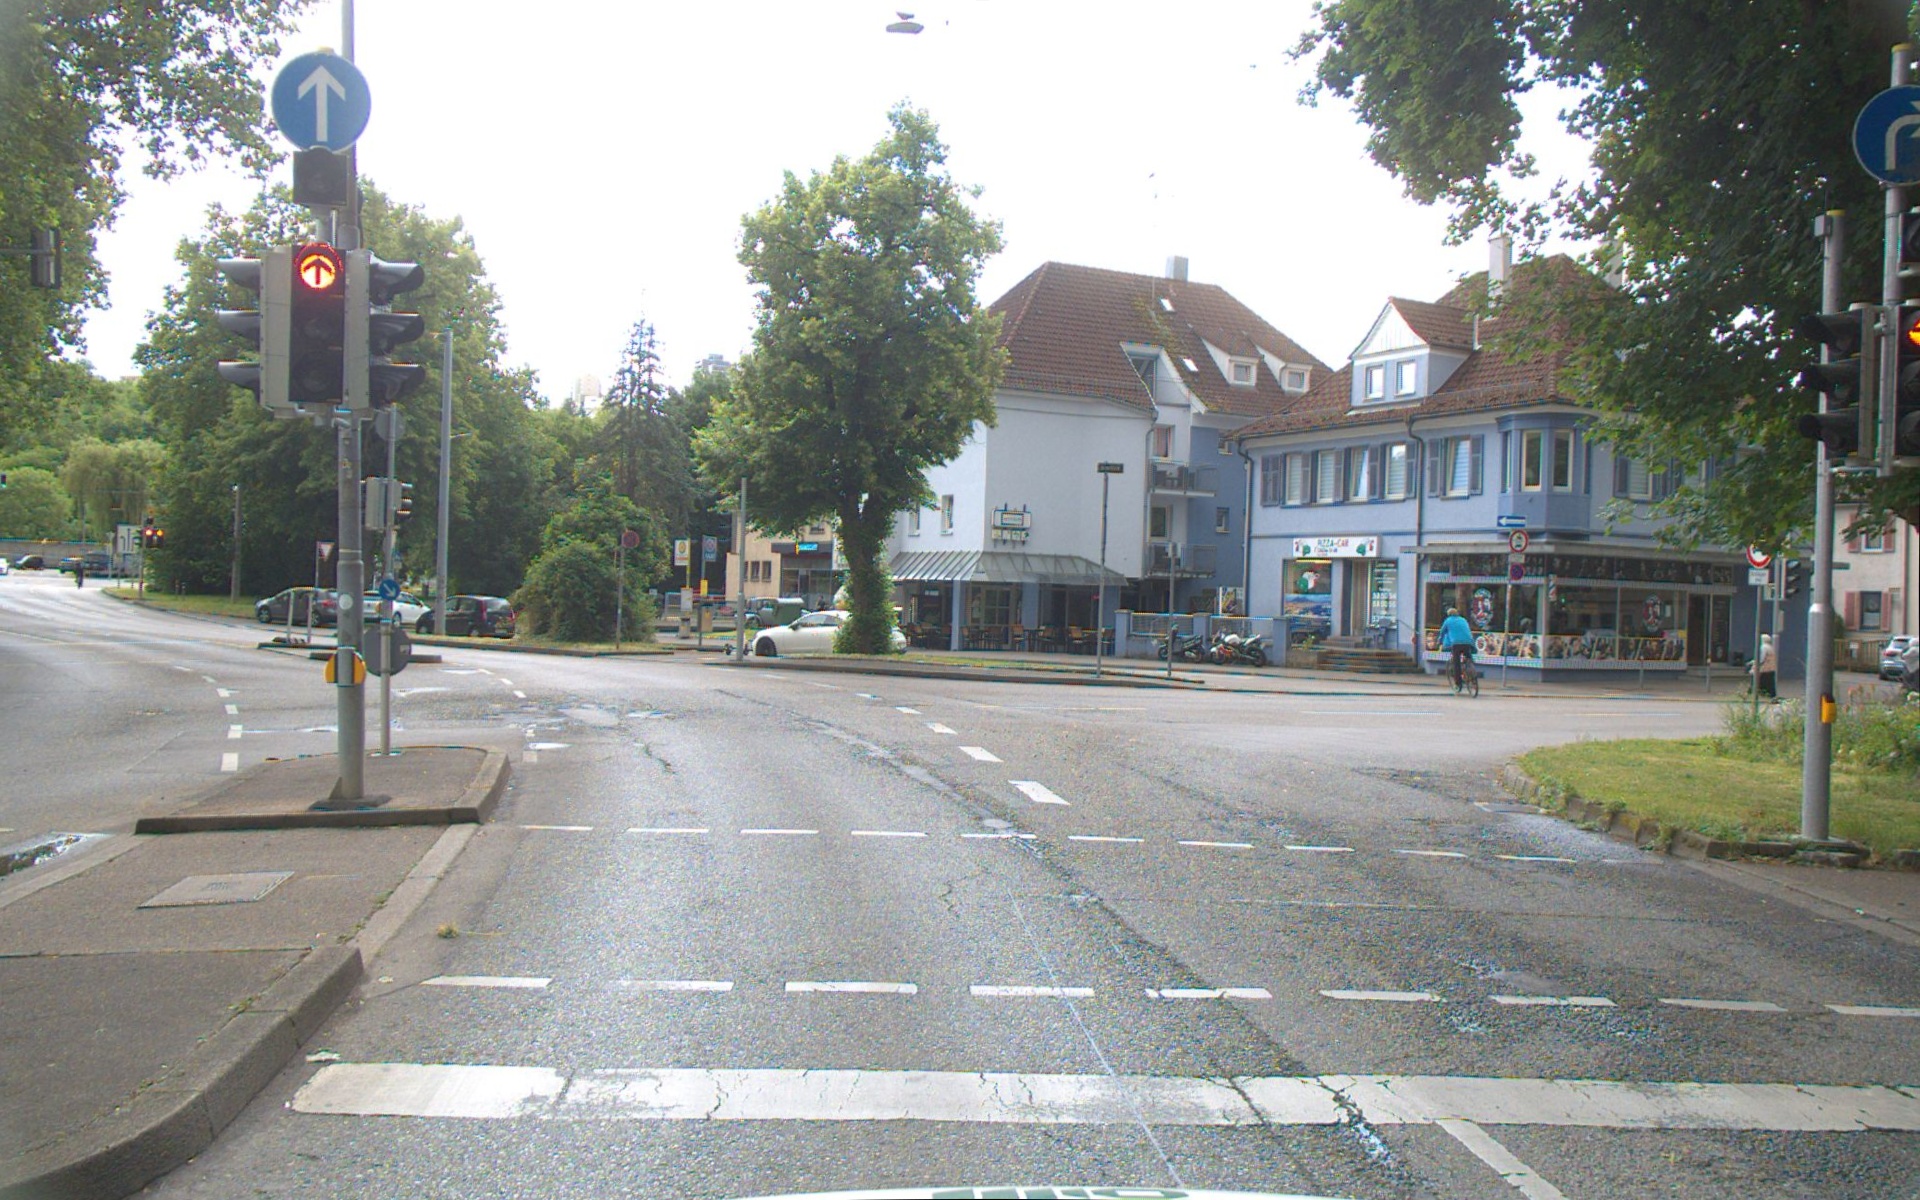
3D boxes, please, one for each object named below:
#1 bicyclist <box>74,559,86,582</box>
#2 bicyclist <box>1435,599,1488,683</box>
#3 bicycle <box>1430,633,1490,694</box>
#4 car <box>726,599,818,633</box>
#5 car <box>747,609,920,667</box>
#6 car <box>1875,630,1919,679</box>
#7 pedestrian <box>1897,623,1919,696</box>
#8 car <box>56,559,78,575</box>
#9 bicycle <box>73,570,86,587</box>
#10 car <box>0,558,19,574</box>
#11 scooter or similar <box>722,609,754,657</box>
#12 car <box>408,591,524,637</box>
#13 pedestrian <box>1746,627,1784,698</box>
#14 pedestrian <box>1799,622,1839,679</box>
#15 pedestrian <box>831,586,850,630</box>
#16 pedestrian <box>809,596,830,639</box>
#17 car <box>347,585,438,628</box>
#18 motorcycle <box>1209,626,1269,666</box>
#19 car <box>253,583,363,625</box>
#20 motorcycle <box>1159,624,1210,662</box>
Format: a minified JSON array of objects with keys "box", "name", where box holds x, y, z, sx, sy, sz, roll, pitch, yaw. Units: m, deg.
[{"box":[-51.619,-1.723,97.010,0.534,1.365,0.706,1,0,-31],"name":"bicyclist"},{"box":[10.312,0.823,34.024,0.895,1.680,0.989,1,0,9],"name":"bicyclist"},{"box":[10.322,1.297,34.222,0.855,1.169,1.954,1,0,7],"name":"bicycle"},{"box":[-8.575,0.737,75.480,3.880,1.467,1.742,1,0,-21],"name":"car"},{"box":[-3.529,1.025,45.683,4.618,1.435,1.896,1,0,35],"name":"car"},{"box":[29.701,1.692,51.687,1.849,1.415,3.608,1,0,28],"name":"car"},{"box":[21.206,1.315,36.708,0.681,1.587,0.665,0,-1,30],"name":"pedestrian"},{"box":[-95.563,-3.549,176.980,1.973,1.624,3.958,1,-1,-31],"name":"car"},{"box":[-51.624,-1.248,96.963,0.550,0.975,2.012,1,0,-31],"name":"bicycle"},{"box":[-88.700,-3.166,153.522,2.971,1.442,1.491,0,-2,41],"name":"car"},{"box":[-5.698,0.833,42.509,0.433,1.195,1.439,1,0,8],"name":"scooter or similar"},{"box":[-15.910,0.451,53.264,3.252,1.376,1.778,1,0,27],"name":"car"},{"box":[18.449,1.419,37.893,0.717,1.587,0.767,0,-1,30],"name":"pedestrian"},{"box":[24.046,1.412,46.313,0.659,1.587,0.743,1,-1,-15],"name":"pedestrian"},{"box":[-4.281,0.282,59.189,0.531,1.587,0.468,0,-1,13],"name":"pedestrian"},{"box":[-6.828,0.861,80.585,0.823,2.049,1.052,1,0,-15],"name":"pedestrian"},{"box":[-22.728,0.263,66.406,1.821,1.668,3.757,1,0,10],"name":"car"},{"box":[8.171,1.343,48.459,1.595,1.107,0.625,1,0,32],"name":"motorcycle"},{"box":[-25.003,0.157,63.423,3.695,1.491,1.622,1,0,18],"name":"car"},{"box":[6.817,1.292,50.209,1.430,1.107,0.522,1,0,35],"name":"motorcycle"}]
